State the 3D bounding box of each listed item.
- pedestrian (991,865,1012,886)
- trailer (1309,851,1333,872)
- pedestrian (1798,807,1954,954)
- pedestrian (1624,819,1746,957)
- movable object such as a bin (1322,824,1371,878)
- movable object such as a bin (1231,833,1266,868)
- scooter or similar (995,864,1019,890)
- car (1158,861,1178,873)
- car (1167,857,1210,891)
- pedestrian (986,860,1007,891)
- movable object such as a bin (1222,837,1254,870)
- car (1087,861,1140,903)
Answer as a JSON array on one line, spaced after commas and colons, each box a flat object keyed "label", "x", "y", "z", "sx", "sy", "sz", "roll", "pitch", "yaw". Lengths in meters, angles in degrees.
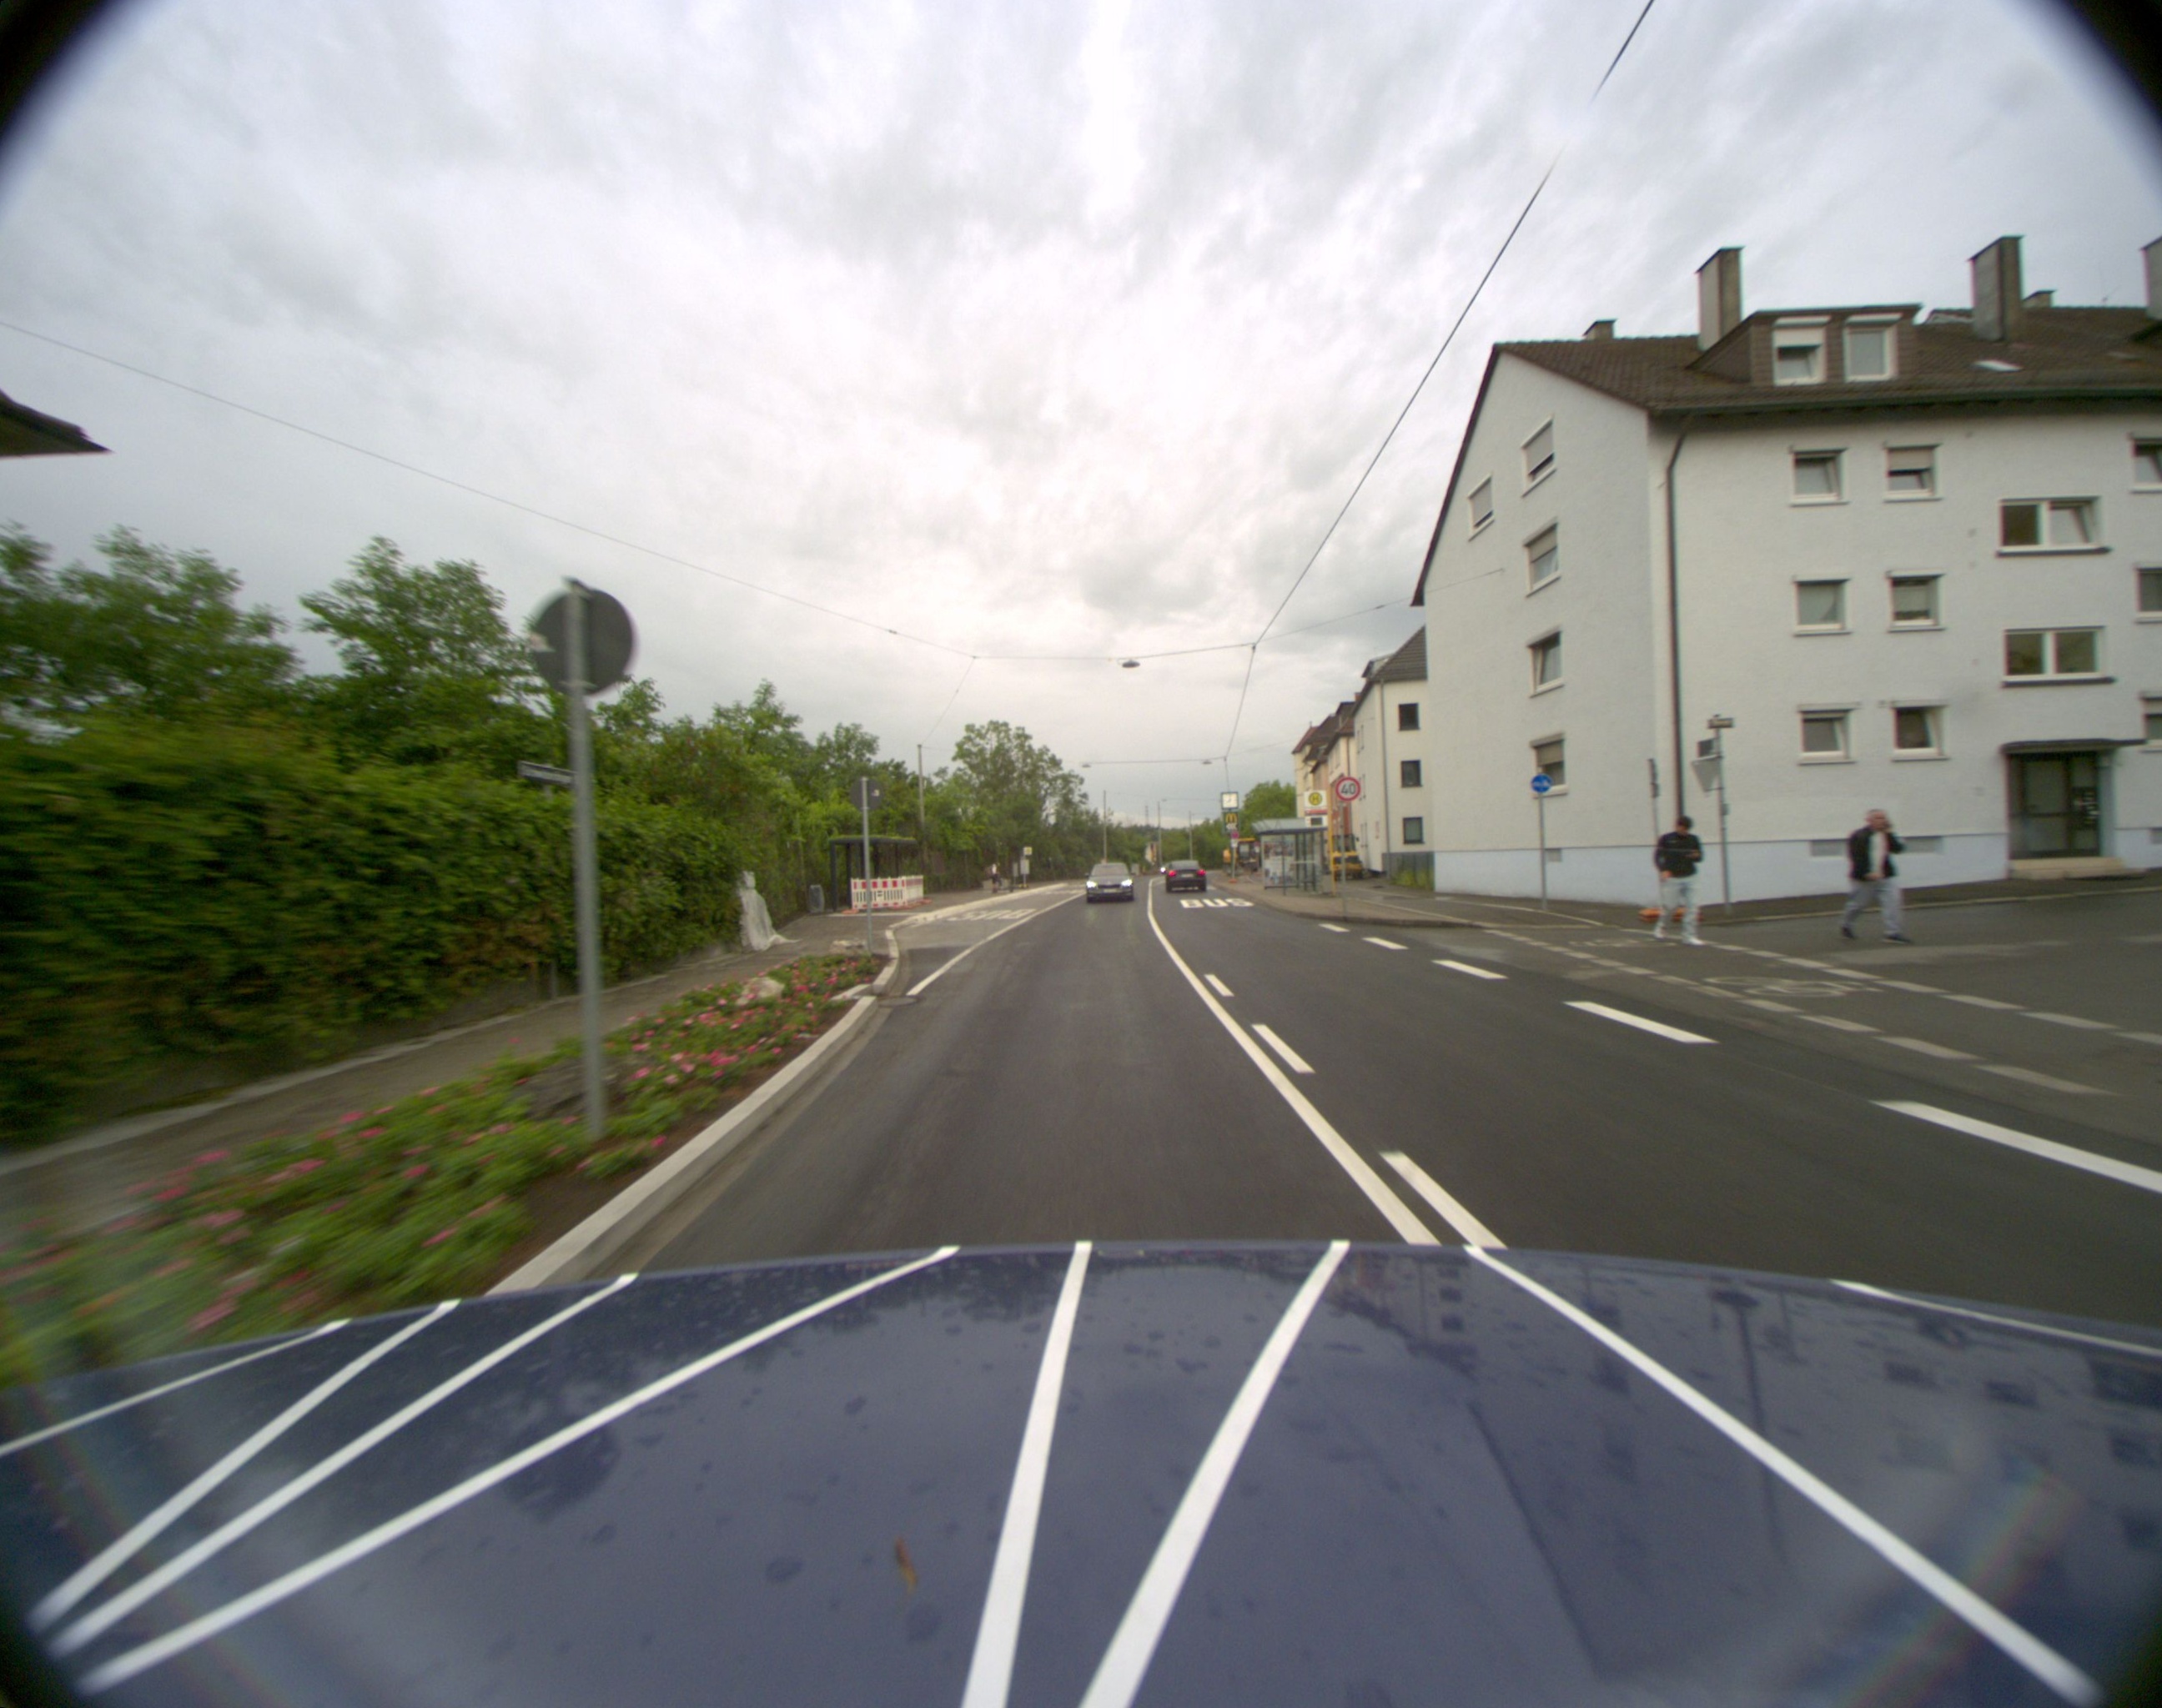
[{"label": "pedestrian", "x": -5.121, "y": 1.387, "z": 49.027, "sx": 1.069, "sy": 1.322, "sz": 0.808, "roll": -2, "pitch": 0, "yaw": -31}, {"label": "trailer", "x": 17.472, "y": 0.527, "z": 55.501, "sx": 1.326, "sy": 1.390, "sz": 4.000, "roll": -3, "pitch": -1, "yaw": 14}, {"label": "pedestrian", "x": 10.517, "y": 0.344, "z": 10.110, "sx": 0.808, "sy": 1.810, "sz": 1.116, "roll": -3, "pitch": 0, "yaw": 0}, {"label": "pedestrian", "x": 8.694, "y": 0.468, "z": 10.995, "sx": 0.864, "sy": 1.871, "sz": 1.044, "roll": -2, "pitch": 0, "yaw": -1}, {"label": "movable object such as a bin", "x": 15.238, "y": -0.171, "z": 43.887, "sx": 2.132, "sy": 2.790, "sz": 4.984, "roll": -4, "pitch": -1, "yaw": 15}, {"label": "movable object such as a bin", "x": 20.191, "y": -0.391, "z": 91.235, "sx": 2.952, "sy": 3.820, "sz": 8.138, "roll": -3, "pitch": -1, "yaw": 19}, {"label": "scooter or similar", "x": -3.884, "y": 1.207, "z": 39.905, "sx": 1.245, "sy": 1.307, "sz": 0.231, "roll": -3, "pitch": 0, "yaw": -34}, {"label": "car", "x": 10.828, "y": 1.573, "z": 94.176, "sx": 1.604, "sy": 1.294, "sz": 3.718, "roll": -4, "pitch": -1, "yaw": 19}, {"label": "car", "x": 5.078, "y": 0.917, "z": 36.402, "sx": 1.787, "sy": 1.444, "sz": 4.391, "roll": -2, "pitch": 0, "yaw": 5}, {"label": "pedestrian", "x": -4.432, "y": 1.128, "z": 39.855, "sx": 0.922, "sy": 1.538, "sz": 0.543, "roll": -3, "pitch": 1, "yaw": -31}, {"label": "movable object such as a bin", "x": 15.720, "y": 0.016, "z": 75.857, "sx": 2.828, "sy": 3.094, "sz": 4.639, "roll": -2, "pitch": -1, "yaw": 13}, {"label": "car", "x": 1.329, "y": 1.030, "z": 29.573, "sx": 1.836, "sy": 1.429, "sz": 4.002, "roll": -3, "pitch": -1, "yaw": 5}]
